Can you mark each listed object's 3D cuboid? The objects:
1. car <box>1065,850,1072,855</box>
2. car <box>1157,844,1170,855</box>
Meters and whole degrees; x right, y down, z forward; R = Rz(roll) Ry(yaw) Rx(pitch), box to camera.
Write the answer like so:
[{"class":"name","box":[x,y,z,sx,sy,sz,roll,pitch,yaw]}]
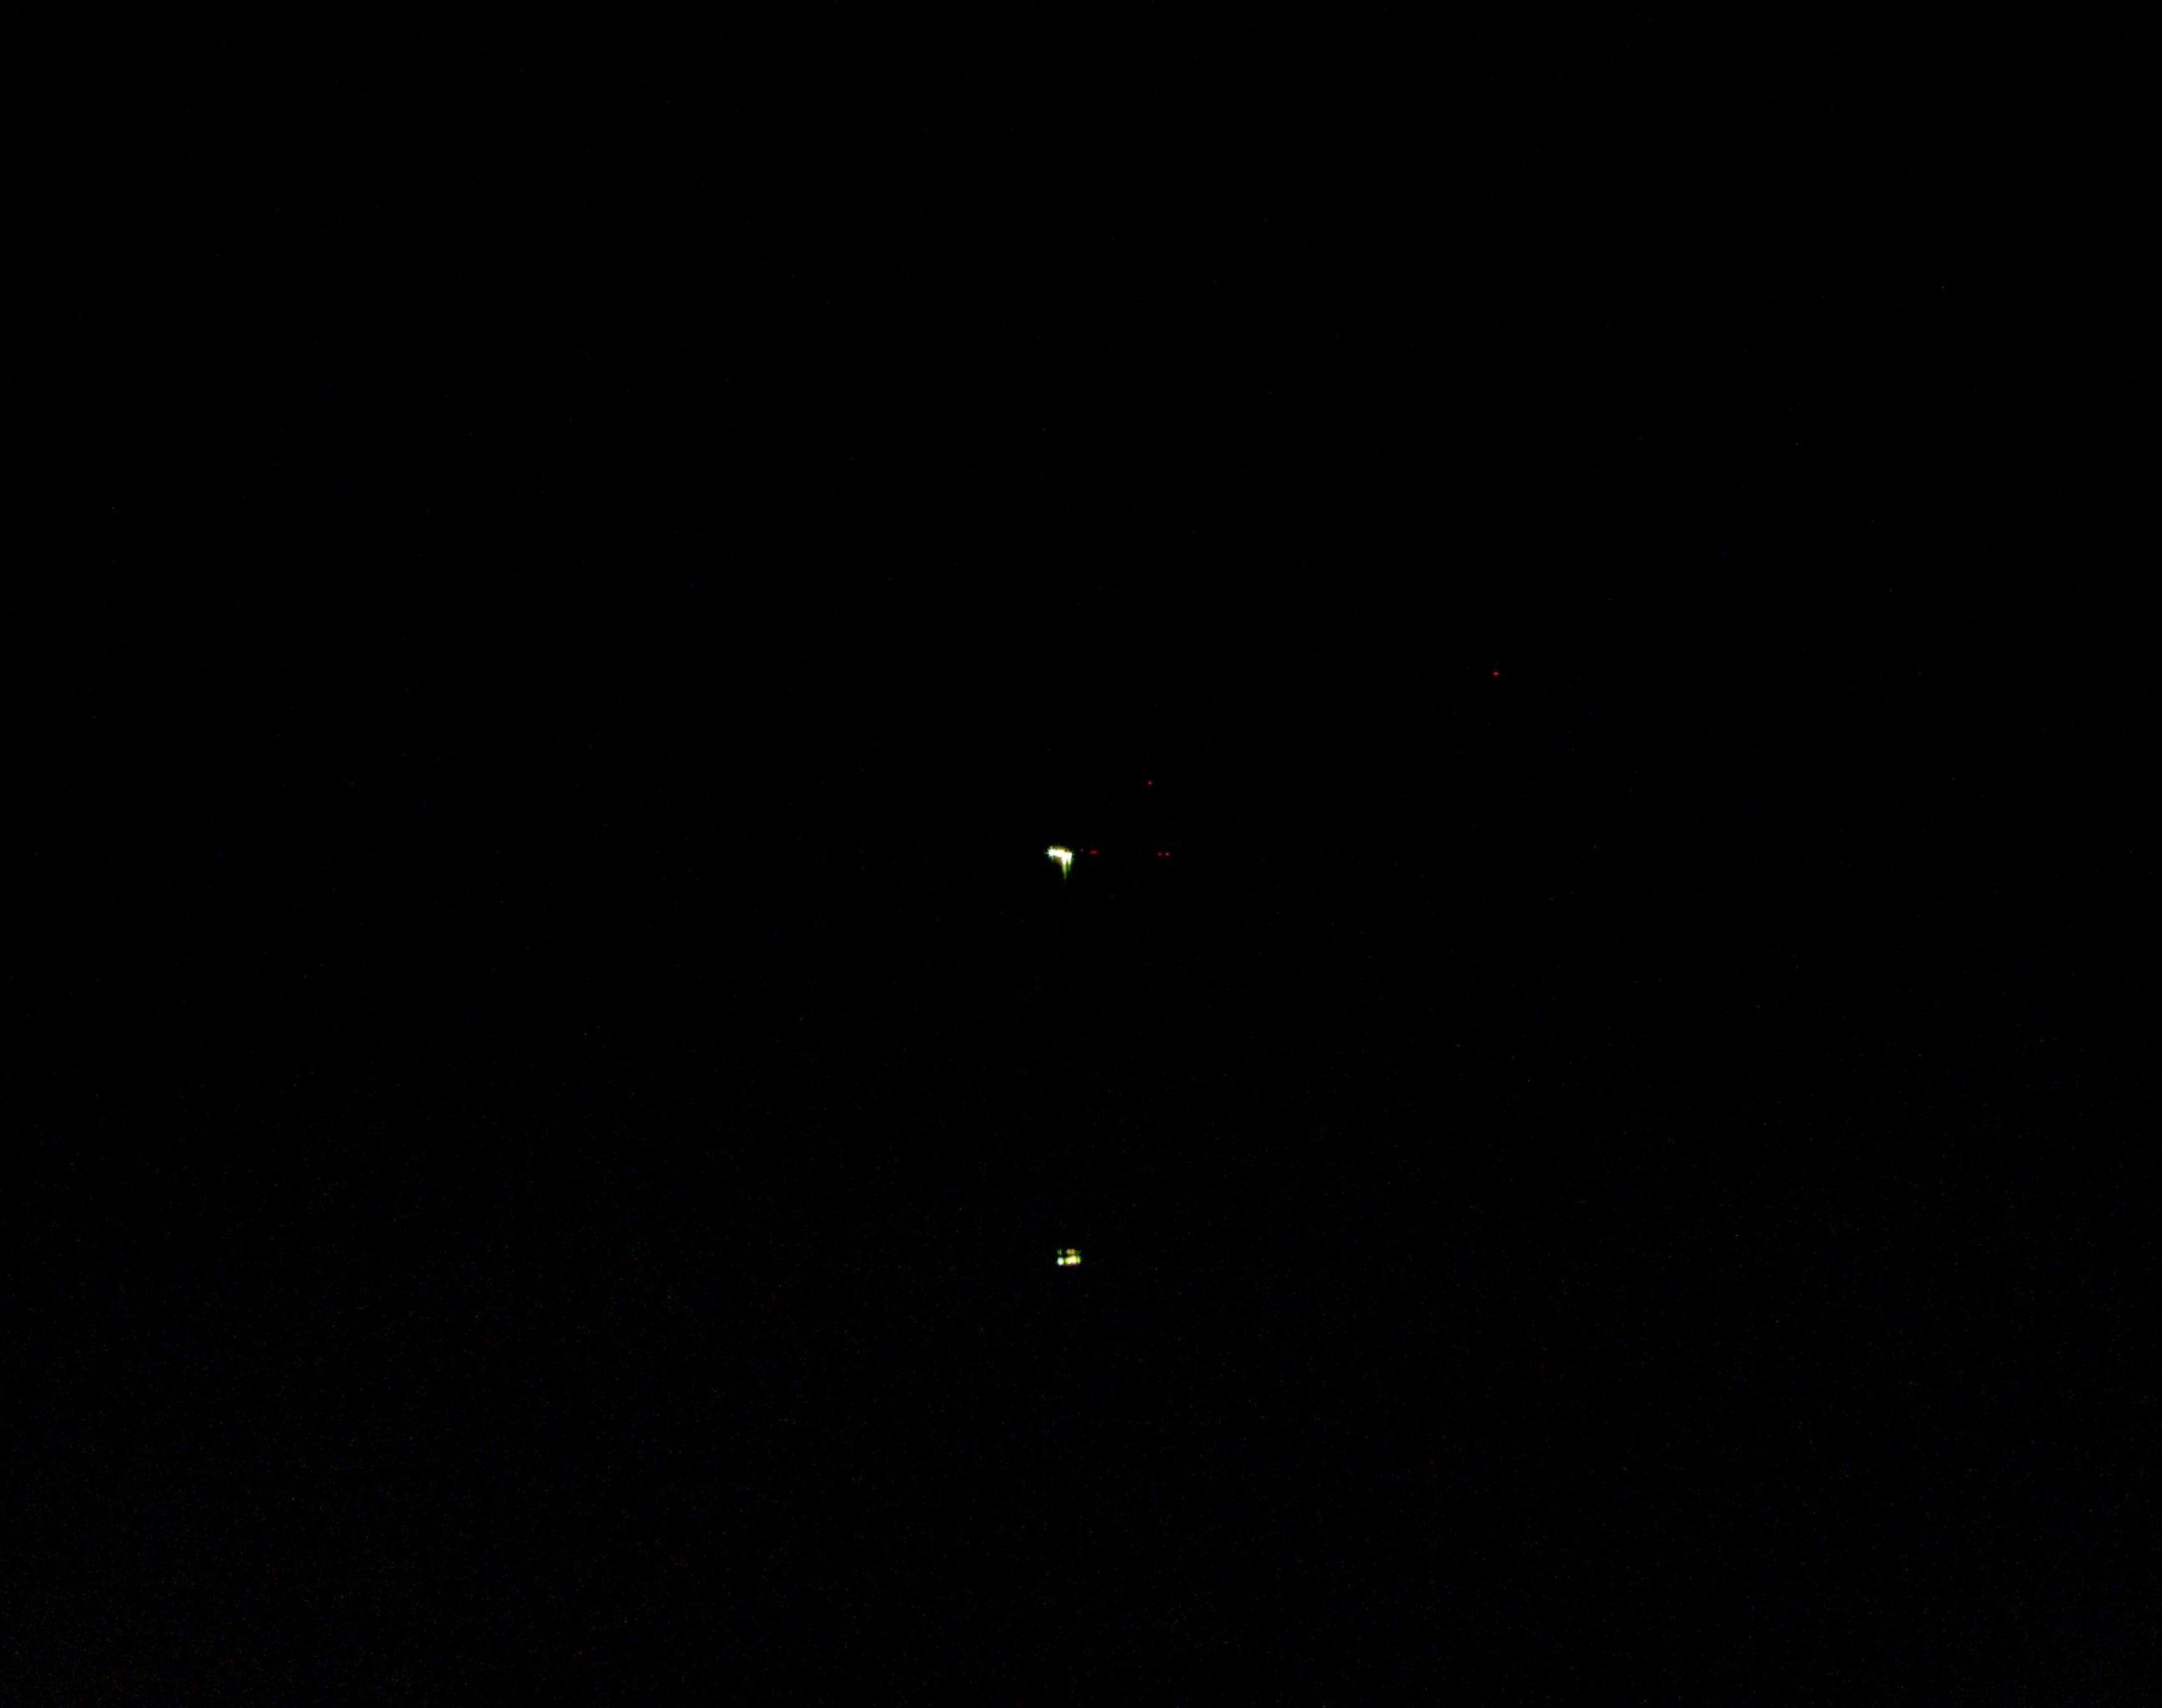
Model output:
[{"class":"car","box":[-3.681,-0.422,224.759,1.860,1.608,3.999,-1,1,-2]},{"class":"car","box":[20.718,-1.128,190.349,2.397,2.438,6.668,-2,1,-1]}]
